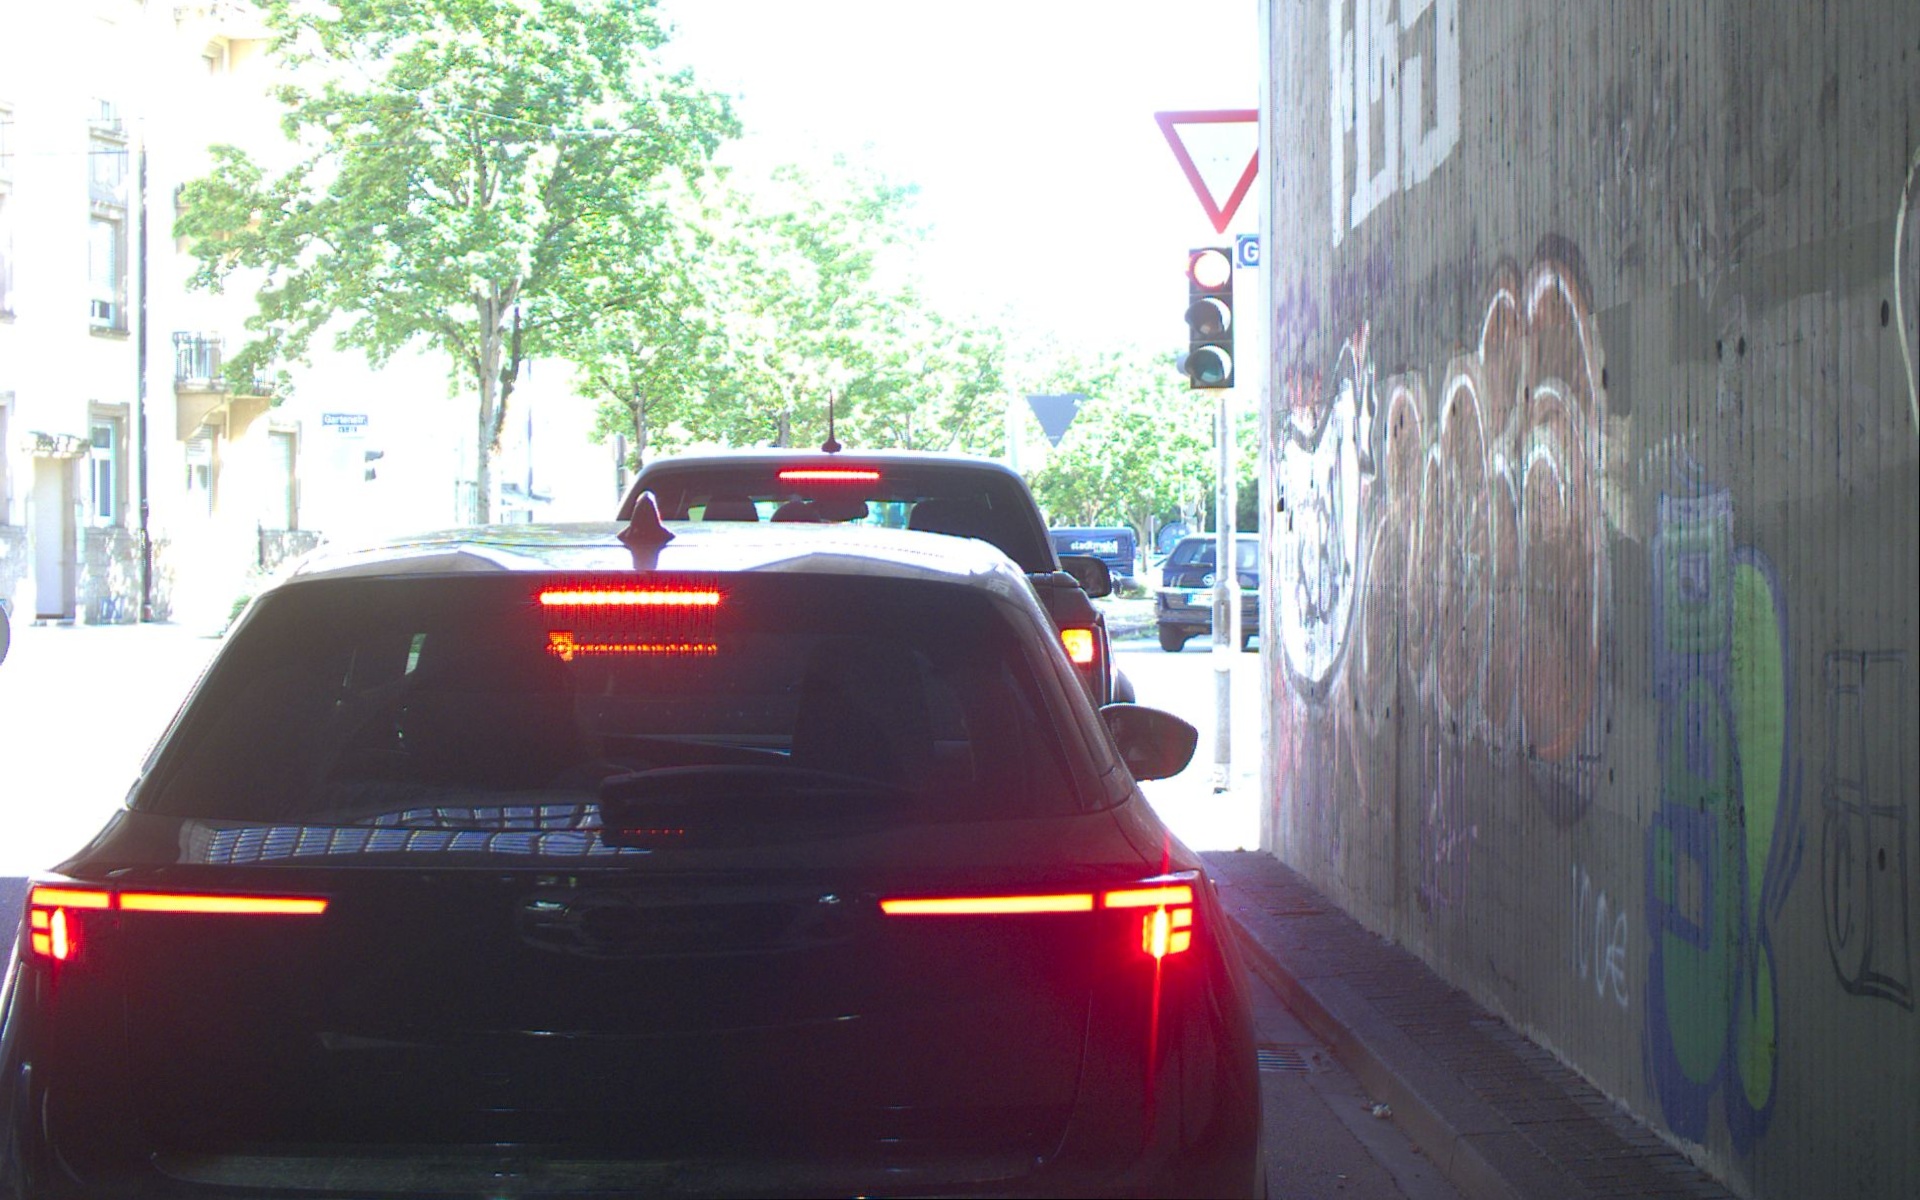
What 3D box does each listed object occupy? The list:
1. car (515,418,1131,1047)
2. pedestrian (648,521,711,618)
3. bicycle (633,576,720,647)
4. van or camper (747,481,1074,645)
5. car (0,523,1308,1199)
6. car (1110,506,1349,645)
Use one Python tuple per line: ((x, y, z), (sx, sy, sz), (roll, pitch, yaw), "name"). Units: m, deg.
((-0.419, 0.352, 12.067), (1.786, 1.827, 3.961), (1, 1, 0), "car")
((-4.620, -0.503, 56.679), (0.736, 1.579, 0.889), (1, 0, 15), "pedestrian")
((-4.661, 0.185, 56.744), (0.737, 1.126, 2.025), (0, 1, 17), "bicycle")
((-0.586, -0.472, 43.438), (3.878, 2.007, 2.000), (0, 1, 7), "van or camper")
((-0.477, 0.626, 6.163), (1.753, 1.493, 4.000), (1, 1, 0), "car")
((3.535, -0.356, 44.180), (1.995, 1.635, 4.589), (0, 2, 19), "car")
